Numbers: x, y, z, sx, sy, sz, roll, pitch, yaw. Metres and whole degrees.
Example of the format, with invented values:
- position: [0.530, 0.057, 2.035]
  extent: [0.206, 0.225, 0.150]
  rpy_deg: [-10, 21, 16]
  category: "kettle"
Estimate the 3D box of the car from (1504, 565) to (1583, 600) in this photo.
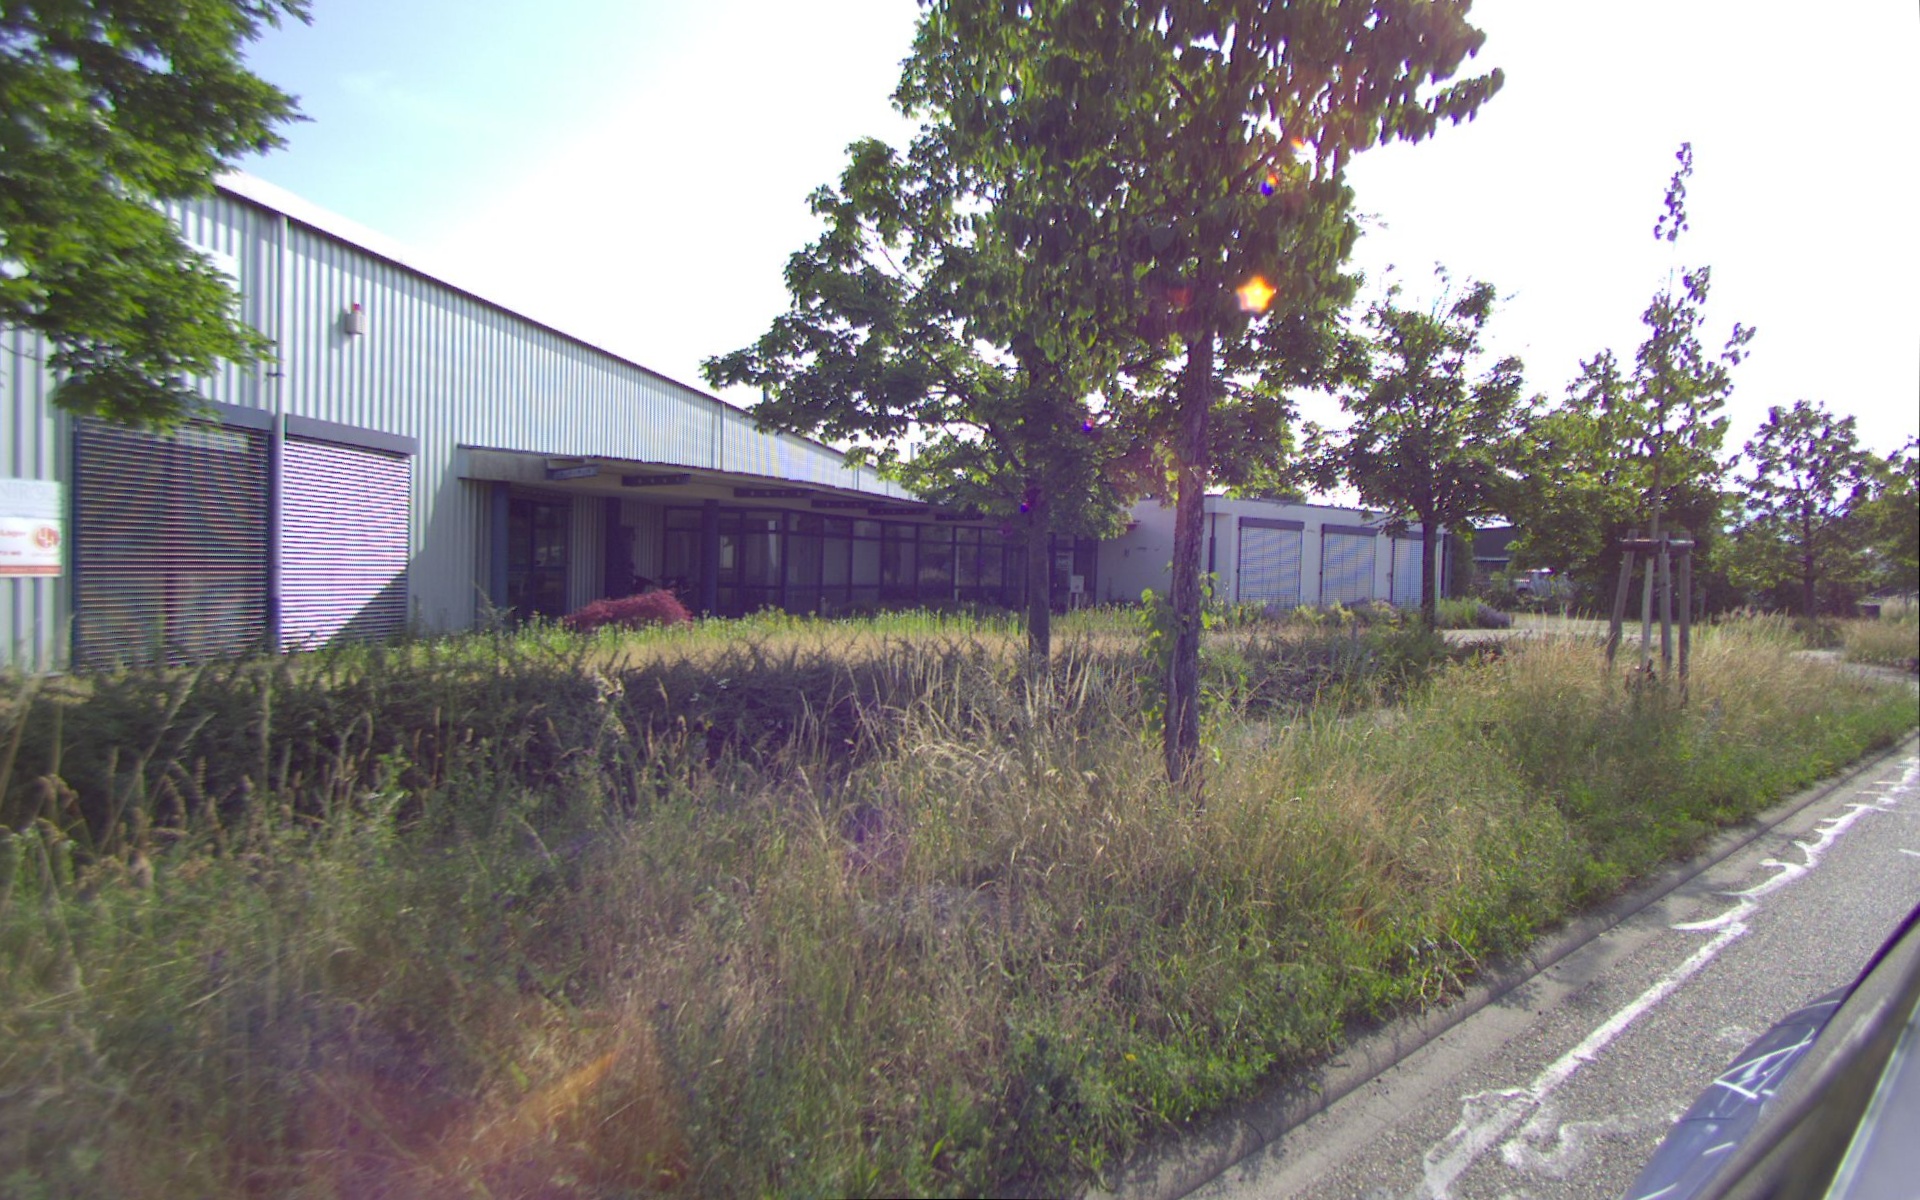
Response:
- position: [29.242, -0.877, 50.740]
  extent: [3.679, 1.703, 1.604]
  rpy_deg: [0, 0, -25]
  category: "car"

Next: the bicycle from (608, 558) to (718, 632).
- position: [-6.333, -0.116, 21.713]
  extent: [0.803, 1.488, 2.249]
  rpy_deg: [0, 0, 37]
  category: "bicycle"
